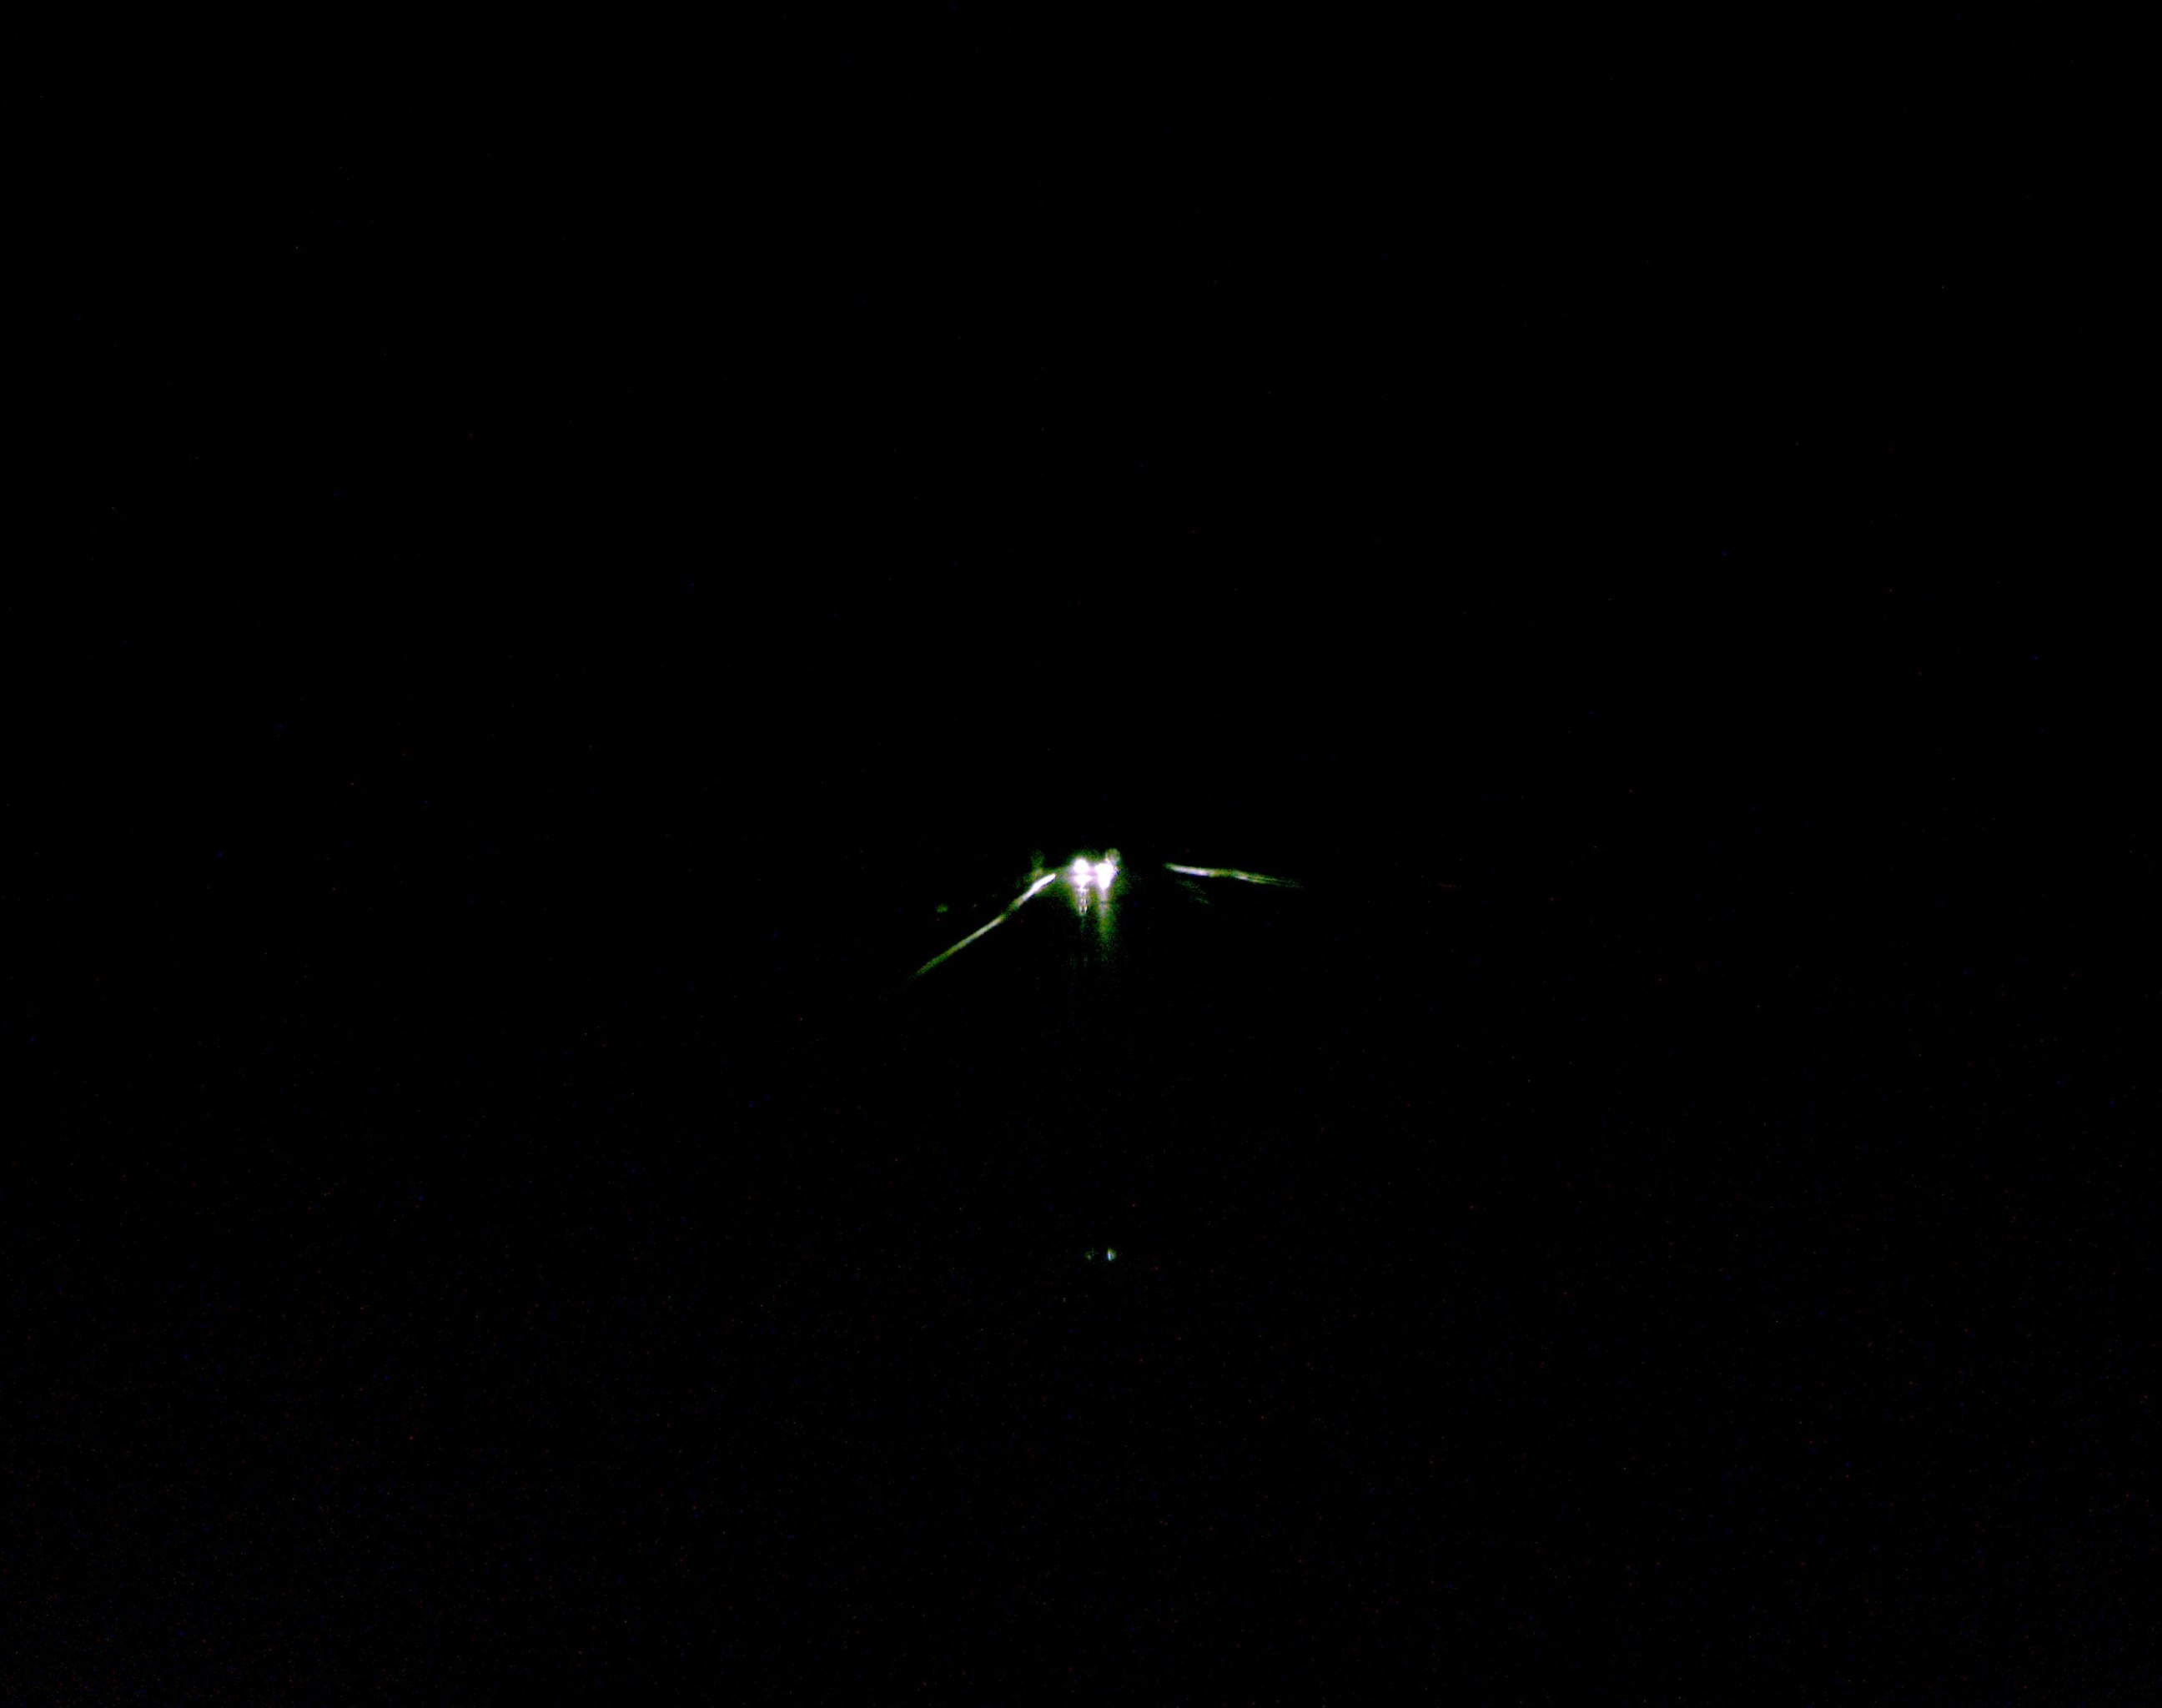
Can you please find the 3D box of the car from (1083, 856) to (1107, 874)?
[{"bbox_3d":[1.262,0.963,66.039,1.775,1.444,4.138,-1,-1,6],"label":"car"}]

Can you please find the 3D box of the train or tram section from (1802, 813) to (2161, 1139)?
[{"bbox_3d":[12.772,1.251,7.664,2.851,3.440,8.552,-2,0,0],"label":"train or tram section"}]

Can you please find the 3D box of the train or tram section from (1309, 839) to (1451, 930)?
[{"bbox_3d":[12.818,1.180,33.594,2.851,3.440,8.552,-2,0,0],"label":"train or tram section"}]

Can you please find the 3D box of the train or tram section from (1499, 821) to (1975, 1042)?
[{"bbox_3d":[12.806,1.220,16.378,2.851,3.440,8.552,-2,0,0],"label":"train or tram section"}]

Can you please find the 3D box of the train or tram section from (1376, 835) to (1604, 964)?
[{"bbox_3d":[12.821,1.219,25.004,2.851,3.440,8.552,-2,0,0],"label":"train or tram section"}]
